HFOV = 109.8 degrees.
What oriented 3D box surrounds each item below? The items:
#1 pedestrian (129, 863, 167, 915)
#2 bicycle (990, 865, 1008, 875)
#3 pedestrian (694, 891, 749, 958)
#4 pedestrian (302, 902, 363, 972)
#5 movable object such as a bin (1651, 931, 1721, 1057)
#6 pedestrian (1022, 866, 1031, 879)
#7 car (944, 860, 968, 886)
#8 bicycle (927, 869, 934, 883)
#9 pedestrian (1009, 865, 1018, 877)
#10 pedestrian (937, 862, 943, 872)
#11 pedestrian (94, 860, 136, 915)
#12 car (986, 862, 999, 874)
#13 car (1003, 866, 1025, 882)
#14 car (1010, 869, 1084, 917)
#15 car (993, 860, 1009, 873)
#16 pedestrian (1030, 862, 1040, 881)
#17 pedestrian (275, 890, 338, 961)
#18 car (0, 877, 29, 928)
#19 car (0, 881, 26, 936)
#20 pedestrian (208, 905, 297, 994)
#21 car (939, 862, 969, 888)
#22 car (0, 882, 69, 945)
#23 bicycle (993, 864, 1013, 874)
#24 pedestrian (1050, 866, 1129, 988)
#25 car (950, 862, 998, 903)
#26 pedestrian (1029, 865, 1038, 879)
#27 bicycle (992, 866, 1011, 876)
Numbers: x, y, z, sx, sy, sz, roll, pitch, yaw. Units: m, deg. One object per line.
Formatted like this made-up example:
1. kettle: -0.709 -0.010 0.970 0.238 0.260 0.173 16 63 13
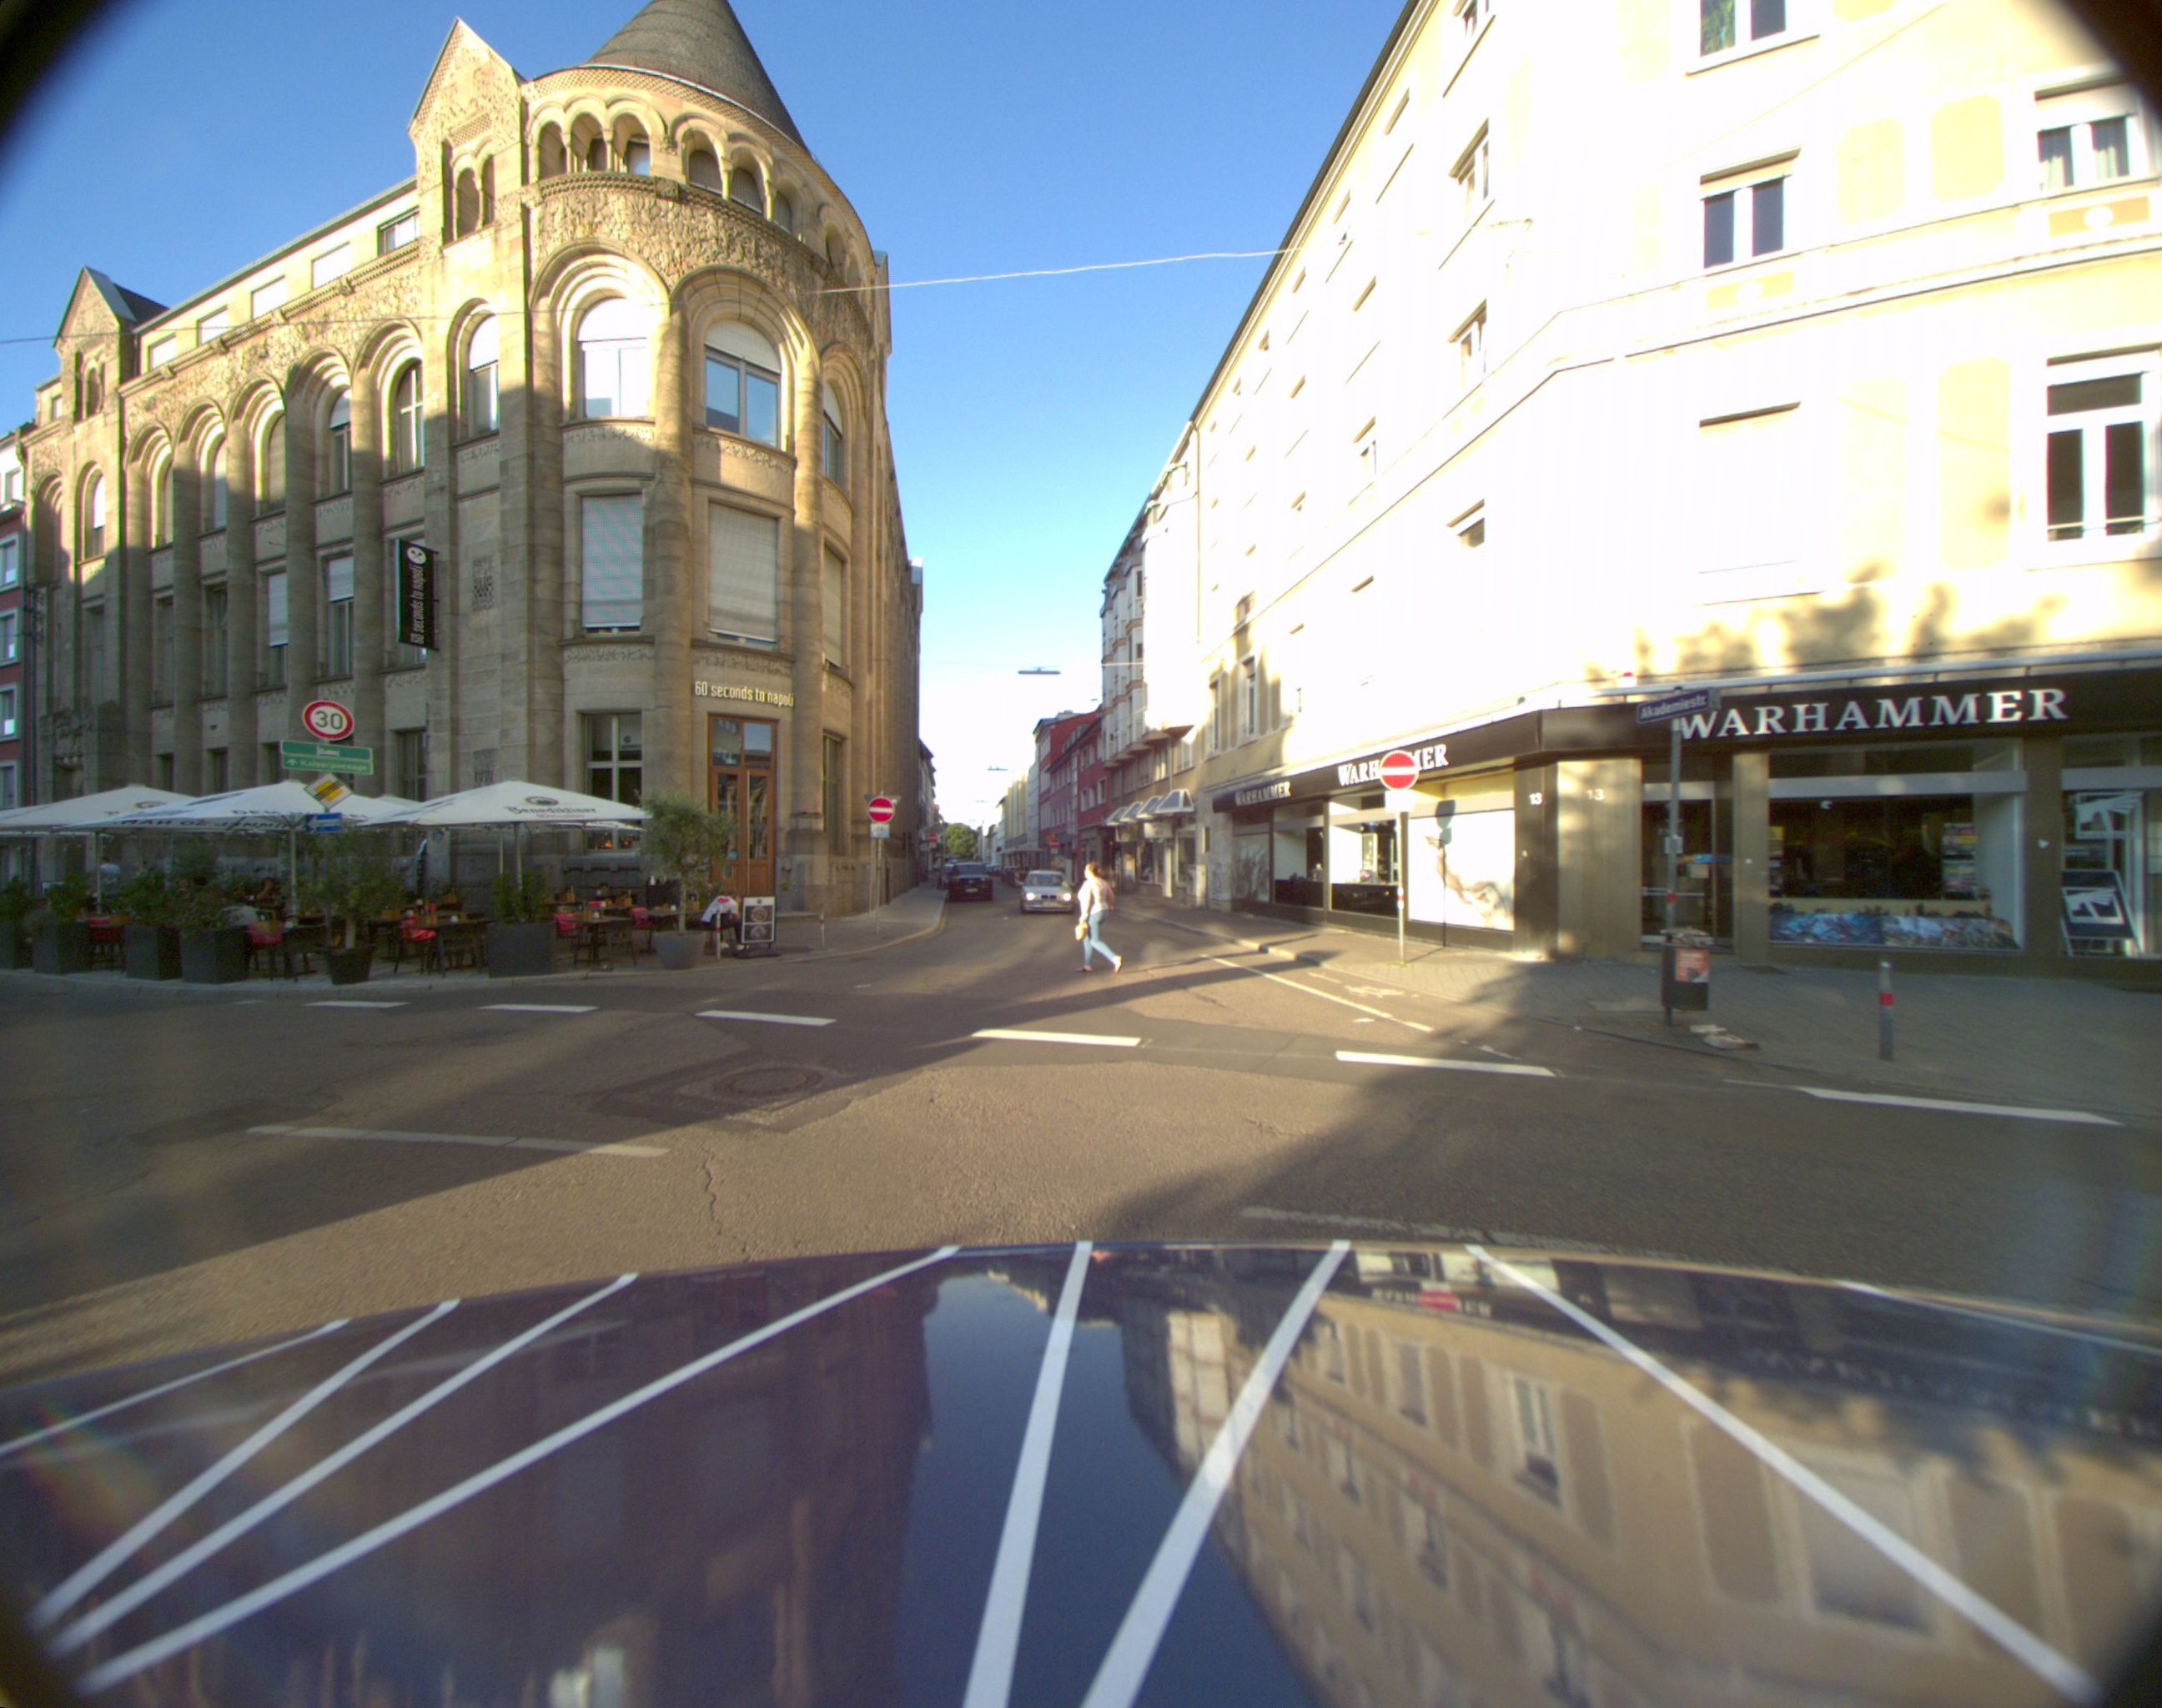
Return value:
1. pedestrian: -31.434 1.169 25.612 0.628 1.720 0.598 0 0 18
2. bicycle: -11.201 2.195 103.819 2.482 1.322 0.784 -1 1 -4
3. pedestrian: -6.702 1.297 14.178 0.607 1.181 0.822 -1 0 1
4. pedestrian: -13.314 1.464 13.528 0.572 1.181 0.602 -1 0 25
5. movable object such as a bin: 5.474 1.249 6.875 0.360 1.057 0.355 -1 0 -20
6. pedestrian: -4.417 1.484 61.889 0.612 1.056 0.547 -1 1 -17
7. car: -9.243 1.382 56.467 1.676 1.796 4.236 -2 0 -8
8. bicycle: -13.069 1.907 66.110 0.520 1.083 1.751 3 -1 -9
9. pedestrian: -5.850 1.456 65.837 0.634 1.061 0.559 -1 1 -17
10. pedestrian: -17.173 1.591 92.441 0.737 1.235 0.645 -1 1 -8
11. pedestrian: -30.683 1.063 24.141 0.596 1.720 0.630 0 0 16
12. car: -15.770 2.408 134.819 2.000 2.029 4.455 -1 0 -9
13. car: -6.470 1.887 72.995 1.723 1.452 4.131 -1 0 -11
14. car: -1.260 1.274 26.104 2.000 1.413 4.455 -1 -1 -9
15. car: -11.371 1.772 107.413 2.000 1.666 4.455 -1 0 -9
16. pedestrian: -3.574 1.340 59.287 0.612 1.464 0.547 -1 1 -17
17. pedestrian: -14.213 1.295 13.952 0.684 1.238 0.602 -1 0 25
18. car: -30.927 1.379 19.810 1.755 1.404 4.065 -1 0 -11
19. car: -28.599 1.438 18.051 1.755 1.404 4.103 -1 0 -11
20. pedestrian: -12.424 1.418 11.421 0.686 1.238 0.600 -1 0 -18
21. car: -8.519 1.350 50.843 1.780 1.656 3.996 0 0 -12
22. car: -25.718 1.418 16.760 1.755 1.404 4.065 -1 0 -11
23. bicycle: -9.990 1.898 97.069 2.482 1.172 0.784 -1 1 -4
24. pedestrian: 0.114 0.974 10.613 0.806 1.603 0.732 -1 0 -38
25. car: -5.158 1.275 36.091 2.000 1.772 4.930 -1 -1 -11
26. pedestrian: -3.894 1.486 62.597 0.603 1.056 0.547 -1 1 -17
27. bicycle: -10.556 2.255 101.021 2.482 1.172 0.784 -1 1 -4
